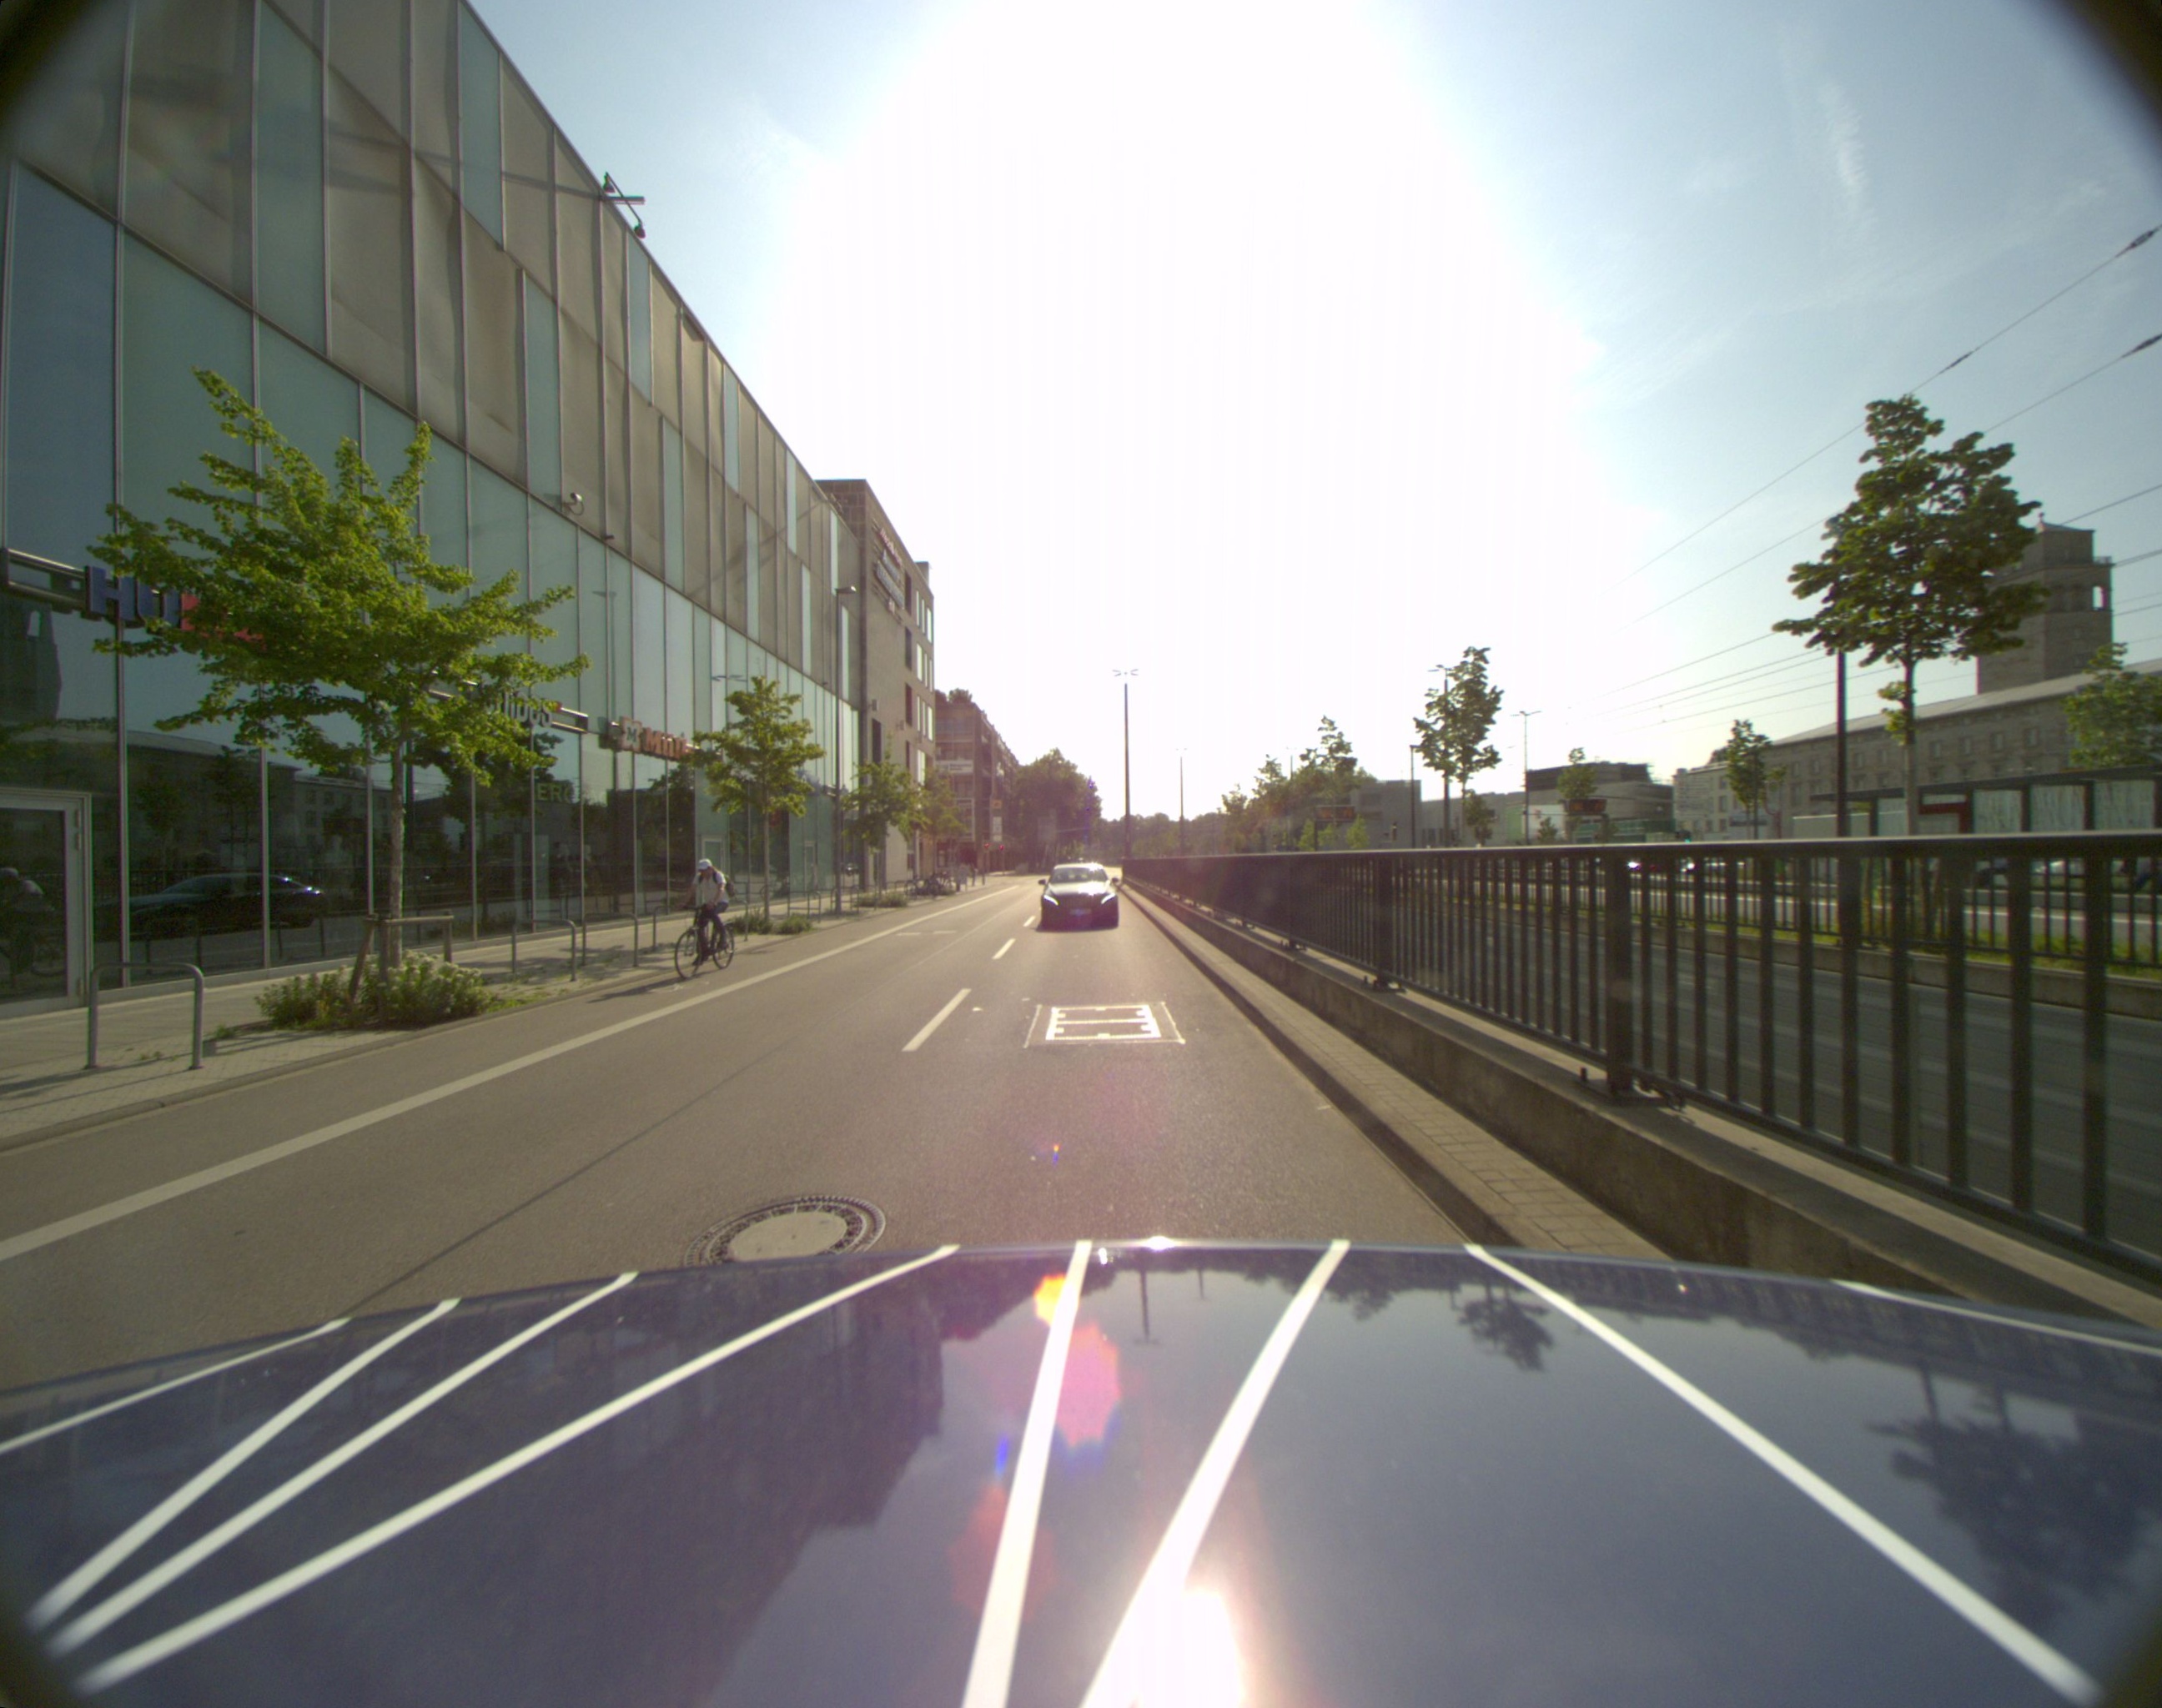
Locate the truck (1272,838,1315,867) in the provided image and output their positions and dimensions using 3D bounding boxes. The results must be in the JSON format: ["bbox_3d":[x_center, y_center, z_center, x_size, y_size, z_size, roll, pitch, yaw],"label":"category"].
[{"bbox_3d":[27.796,-0.096,99.829,3.029,3.565,8.891,-1,-1,0],"label":"truck"}]

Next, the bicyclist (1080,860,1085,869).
[{"bbox_3d":[0.238,1.807,131.874,0.612,1.504,0.813,-1,0,-9],"label":"bicyclist"}]

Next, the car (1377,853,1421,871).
[{"bbox_3d":[30.198,0.738,72.371,1.797,1.572,4.613,-1,0,-7],"label":"car"}]

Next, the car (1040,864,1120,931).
[{"bbox_3d":[0.114,1.000,19.457,1.716,1.429,5.058,-1,0,3],"label":"car"}]

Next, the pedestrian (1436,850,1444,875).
[{"bbox_3d":[24.799,0.590,52.505,0.371,1.666,0.641,-1,0,17],"label":"pedestrian"}]

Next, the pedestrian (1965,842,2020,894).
[{"bbox_3d":[22.963,0.344,19.148,0.682,1.292,0.592,-1,0,-3],"label":"pedestrian"}]

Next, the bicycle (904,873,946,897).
[{"bbox_3d":[-7.419,1.463,36.234,1.882,1.103,0.490,-1,0,3],"label":"bicycle"}]

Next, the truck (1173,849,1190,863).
[{"bbox_3d":[26.712,0.546,201.958,2.979,3.786,10.423,-1,0,0],"label":"truck"}]

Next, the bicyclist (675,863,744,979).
[{"bbox_3d":[-5.763,1.013,11.813,0.652,1.738,0.769,-1,0,3],"label":"bicyclist"}]

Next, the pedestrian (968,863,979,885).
[{"bbox_3d":[-7.455,1.357,52.483,0.710,1.478,0.604,-1,0,-6],"label":"pedestrian"}]

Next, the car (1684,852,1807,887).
[{"bbox_3d":[29.750,0.673,34.222,1.647,1.461,4.403,-1,-1,0],"label":"car"}]

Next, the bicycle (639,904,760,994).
[{"bbox_3d":[-5.769,1.396,11.649,0.662,1.110,2.051,-3,-1,3],"label":"bicycle"}]

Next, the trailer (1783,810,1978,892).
[{"bbox_3d":[29.930,-0.106,28.747,2.050,2.764,5.022,-2,0,0],"label":"trailer"}]

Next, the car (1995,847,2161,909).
[{"bbox_3d":[30.024,0.653,22.166,1.725,1.652,4.151,-1,0,1],"label":"car"}]

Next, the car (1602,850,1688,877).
[{"bbox_3d":[30.119,0.490,40.699,1.725,1.353,3.697,-1,0,-3],"label":"car"}]

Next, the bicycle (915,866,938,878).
[{"bbox_3d":[-12.814,1.473,63.016,1.806,1.011,0.612,-1,0,1],"label":"bicycle"}]

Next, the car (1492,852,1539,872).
[{"bbox_3d":[32.362,0.573,56.697,1.600,1.455,3.434,-1,0,1],"label":"car"}]

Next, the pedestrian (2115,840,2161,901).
[{"bbox_3d":[23.077,0.361,16.411,0.682,1.292,0.592,-1,0,-3],"label":"pedestrian"}]

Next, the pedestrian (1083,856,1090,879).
[{"bbox_3d":[0.410,0.954,54.928,0.468,1.640,0.777,-1,0,1],"label":"pedestrian"}]

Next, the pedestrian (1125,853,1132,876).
[{"bbox_3d":[3.342,0.745,53.404,0.468,1.640,0.777,-1,0,1],"label":"pedestrian"}]

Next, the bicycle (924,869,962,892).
[{"bbox_3d":[-7.322,1.414,40.411,1.843,1.106,0.687,-2,0,3],"label":"bicycle"}]

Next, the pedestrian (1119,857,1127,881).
[{"bbox_3d":[2.882,1.036,52.498,0.468,1.640,0.777,-1,0,1],"label":"pedestrian"}]

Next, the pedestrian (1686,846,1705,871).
[{"bbox_3d":[43.710,0.330,54.032,0.561,1.723,1.006,-1,0,5],"label":"pedestrian"}]

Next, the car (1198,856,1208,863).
[{"bbox_3d":[27.738,1.325,173.001,1.644,1.592,4.000,-1,-1,-1],"label":"car"}]
